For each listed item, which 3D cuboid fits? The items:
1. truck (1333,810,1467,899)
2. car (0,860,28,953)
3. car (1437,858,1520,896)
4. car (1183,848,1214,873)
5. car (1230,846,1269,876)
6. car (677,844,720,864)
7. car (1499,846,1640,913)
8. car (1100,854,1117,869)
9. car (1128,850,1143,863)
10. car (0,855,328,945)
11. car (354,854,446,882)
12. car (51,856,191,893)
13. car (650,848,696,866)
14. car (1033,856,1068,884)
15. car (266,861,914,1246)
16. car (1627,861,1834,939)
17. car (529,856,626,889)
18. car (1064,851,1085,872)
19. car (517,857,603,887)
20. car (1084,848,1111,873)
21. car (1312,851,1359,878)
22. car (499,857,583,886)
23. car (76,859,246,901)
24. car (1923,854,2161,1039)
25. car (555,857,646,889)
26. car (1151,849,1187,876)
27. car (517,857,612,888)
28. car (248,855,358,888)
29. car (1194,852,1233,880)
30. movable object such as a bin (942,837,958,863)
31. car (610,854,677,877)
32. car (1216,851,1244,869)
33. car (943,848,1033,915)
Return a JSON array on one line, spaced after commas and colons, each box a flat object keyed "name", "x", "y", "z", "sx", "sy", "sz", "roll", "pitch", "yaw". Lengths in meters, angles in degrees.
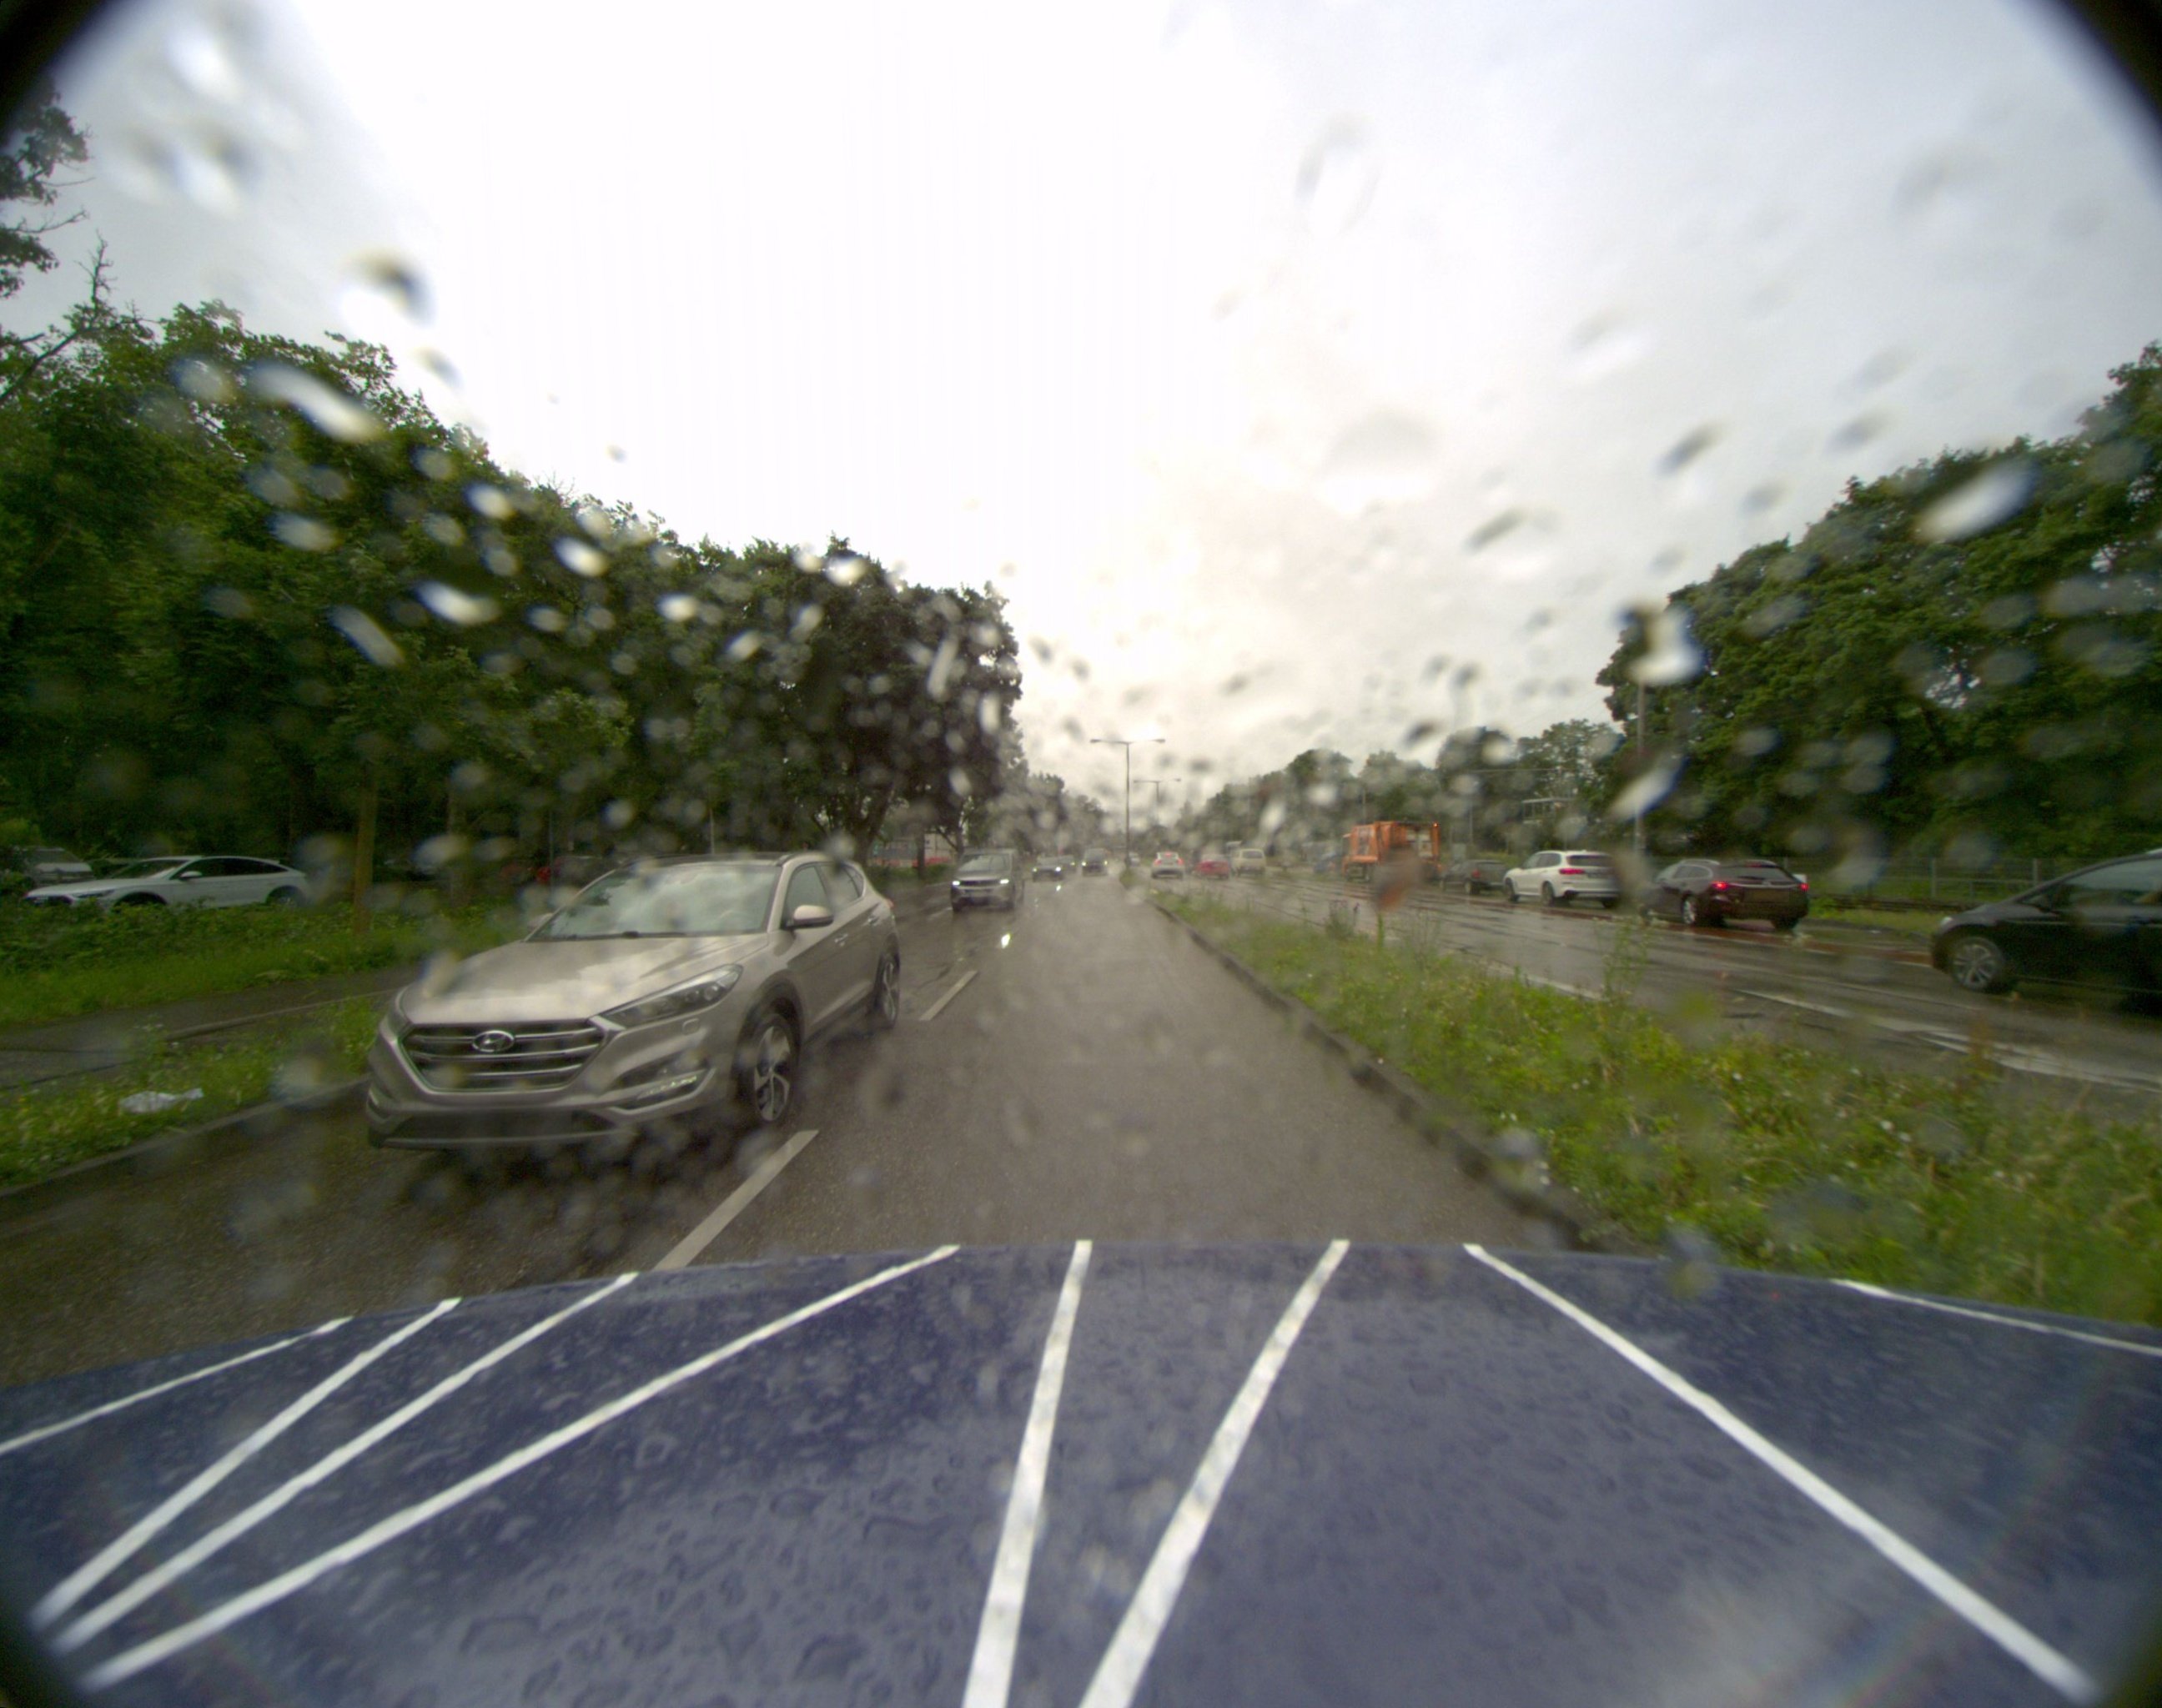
[{"name": "truck", "x": 17.126, "y": -0.050, "z": 41.920, "sx": 3.393, "sy": 4.143, "sz": 10.407, "roll": -2, "pitch": 1, "yaw": 3}, {"name": "car", "x": -20.984, "y": 0.995, "z": 12.064, "sx": 1.998, "sy": 1.707, "sz": 4.641, "roll": 0, "pitch": 1, "yaw": 1}, {"name": "car", "x": 16.262, "y": 0.909, "z": 31.304, "sx": 1.591, "sy": 1.371, "sz": 3.686, "roll": 2, "pitch": 1, "yaw": 3}, {"name": "car", "x": 8.787, "y": 0.472, "z": 57.117, "sx": 1.810, "sy": 1.763, "sz": 5.090, "roll": 1, "pitch": 0, "yaw": 3}, {"name": "car", "x": 11.782, "y": 0.468, "z": 53.414, "sx": 1.933, "sy": 2.006, "sz": 4.743, "roll": 1, "pitch": 0, "yaw": 3}, {"name": "car", "x": -41.329, "y": 0.002, "z": 82.078, "sx": 4.185, "sy": 1.953, "sz": 1.928, "roll": -2, "pitch": 1, "yaw": 24}, {"name": "car", "x": 15.553, "y": 0.732, "z": 24.562, "sx": 1.997, "sy": 1.817, "sz": 4.774, "roll": -3, "pitch": 1, "yaw": 8}, {"name": "car", "x": 3.463, "y": 0.933, "z": 95.535, "sx": 1.898, "sy": 1.602, "sz": 4.000, "roll": -2, "pitch": 1, "yaw": 4}, {"name": "car", "x": 6.921, "y": 0.297, "z": 96.596, "sx": 1.740, "sy": 1.535, "sz": 4.014, "roll": -1, "pitch": 1, "yaw": 6}, {"name": "car", "x": -20.720, "y": 0.906, "z": 17.417, "sx": 1.998, "sy": 1.707, "sz": 4.878, "roll": 0, "pitch": 1, "yaw": 1}, {"name": "car", "x": -44.087, "y": 0.882, "z": 49.240, "sx": 4.292, "sy": 1.601, "sz": 1.900, "roll": -2, "pitch": 1, "yaw": 4}, {"name": "car", "x": -43.594, "y": 0.930, "z": 34.573, "sx": 3.997, "sy": 1.448, "sz": 1.735, "roll": -2, "pitch": 1, "yaw": -1}, {"name": "car", "x": -40.990, "y": 0.321, "z": 76.447, "sx": 3.665, "sy": 1.588, "sz": 1.721, "roll": -2, "pitch": 1, "yaw": 6}, {"name": "car", "x": -1.914, "y": 0.994, "z": 48.936, "sx": 1.858, "sy": 1.583, "sz": 4.000, "roll": -2, "pitch": 1, "yaw": 3}, {"name": "car", "x": -2.638, "y": 0.913, "z": 5.482, "sx": 1.889, "sy": 1.601, "sz": 4.195, "roll": -1, "pitch": 1, "yaw": 0}, {"name": "car", "x": 14.538, "y": 0.933, "z": 17.399, "sx": 1.874, "sy": 1.477, "sz": 4.512, "roll": 0, "pitch": 0, "yaw": 16}, {"name": "car", "x": -25.512, "y": 0.907, "z": 38.586, "sx": 1.665, "sy": 1.441, "sz": 3.759, "roll": -2, "pitch": 1, "yaw": 42}, {"name": "car", "x": -0.582, "y": 0.610, "z": 66.861, "sx": 1.651, "sy": 1.652, "sz": 3.777, "roll": -2, "pitch": 1, "yaw": 1}, {"name": "car", "x": -29.023, "y": 1.004, "z": 42.400, "sx": 3.759, "sy": 1.441, "sz": 1.665, "roll": -3, "pitch": 1, "yaw": -39}, {"name": "car", "x": 1.261, "y": 0.461, "z": 57.213, "sx": 1.812, "sy": 1.683, "sz": 3.777, "roll": -2, "pitch": 1, "yaw": 4}, {"name": "car", "x": 17.822, "y": 0.691, "z": 53.449, "sx": 1.998, "sy": 1.699, "sz": 4.527, "roll": -2, "pitch": 1, "yaw": 4}, {"name": "car", "x": -30.894, "y": 0.977, "z": 43.482, "sx": 3.759, "sy": 1.441, "sz": 1.599, "roll": -3, "pitch": 1, "yaw": -39}, {"name": "car", "x": -35.285, "y": 0.946, "z": 29.329, "sx": 1.587, "sy": 1.377, "sz": 3.999, "roll": -2, "pitch": 1, "yaw": 1}, {"name": "car", "x": 10.470, "y": 0.841, "z": 6.592, "sx": 1.710, "sy": 1.632, "sz": 4.332, "roll": 1, "pitch": 1, "yaw": 5}, {"name": "car", "x": -23.063, "y": 0.897, "z": 36.506, "sx": 3.395, "sy": 1.344, "sz": 1.521, "roll": -3, "pitch": 1, "yaw": -43}, {"name": "car", "x": 5.634, "y": 0.513, "z": 49.158, "sx": 1.965, "sy": 1.607, "sz": 4.698, "roll": 0, "pitch": 0, "yaw": 3}, {"name": "car", "x": -27.202, "y": 0.958, "z": 40.105, "sx": 1.665, "sy": 1.441, "sz": 3.759, "roll": -2, "pitch": 1, "yaw": 42}, {"name": "car", "x": -43.722, "y": 0.958, "z": 42.731, "sx": 4.292, "sy": 1.601, "sz": 1.920, "roll": -2, "pitch": 1, "yaw": 4}, {"name": "car", "x": 8.176, "y": 0.728, "z": 47.177, "sx": 1.805, "sy": 1.560, "sz": 4.428, "roll": 1, "pitch": 1, "yaw": 2}, {"name": "movable object such as a bin", "x": -22.711, "y": -0.786, "z": 131.714, "sx": 1.557, "sy": 4.401, "sz": 3.910, "roll": -2, "pitch": 1, "yaw": 5}, {"name": "car", "x": -32.633, "y": 0.850, "z": 56.727, "sx": 3.994, "sy": 1.516, "sz": 1.884, "roll": -2, "pitch": 1, "yaw": 11}, {"name": "car", "x": 12.735, "y": 0.489, "z": 65.262, "sx": 1.645, "sy": 1.419, "sz": 3.999, "roll": 1, "pitch": 1, "yaw": 1}, {"name": "car", "x": -2.732, "y": 0.763, "z": 23.432, "sx": 1.998, "sy": 1.785, "sz": 4.562, "roll": -2, "pitch": 1, "yaw": 2}]
